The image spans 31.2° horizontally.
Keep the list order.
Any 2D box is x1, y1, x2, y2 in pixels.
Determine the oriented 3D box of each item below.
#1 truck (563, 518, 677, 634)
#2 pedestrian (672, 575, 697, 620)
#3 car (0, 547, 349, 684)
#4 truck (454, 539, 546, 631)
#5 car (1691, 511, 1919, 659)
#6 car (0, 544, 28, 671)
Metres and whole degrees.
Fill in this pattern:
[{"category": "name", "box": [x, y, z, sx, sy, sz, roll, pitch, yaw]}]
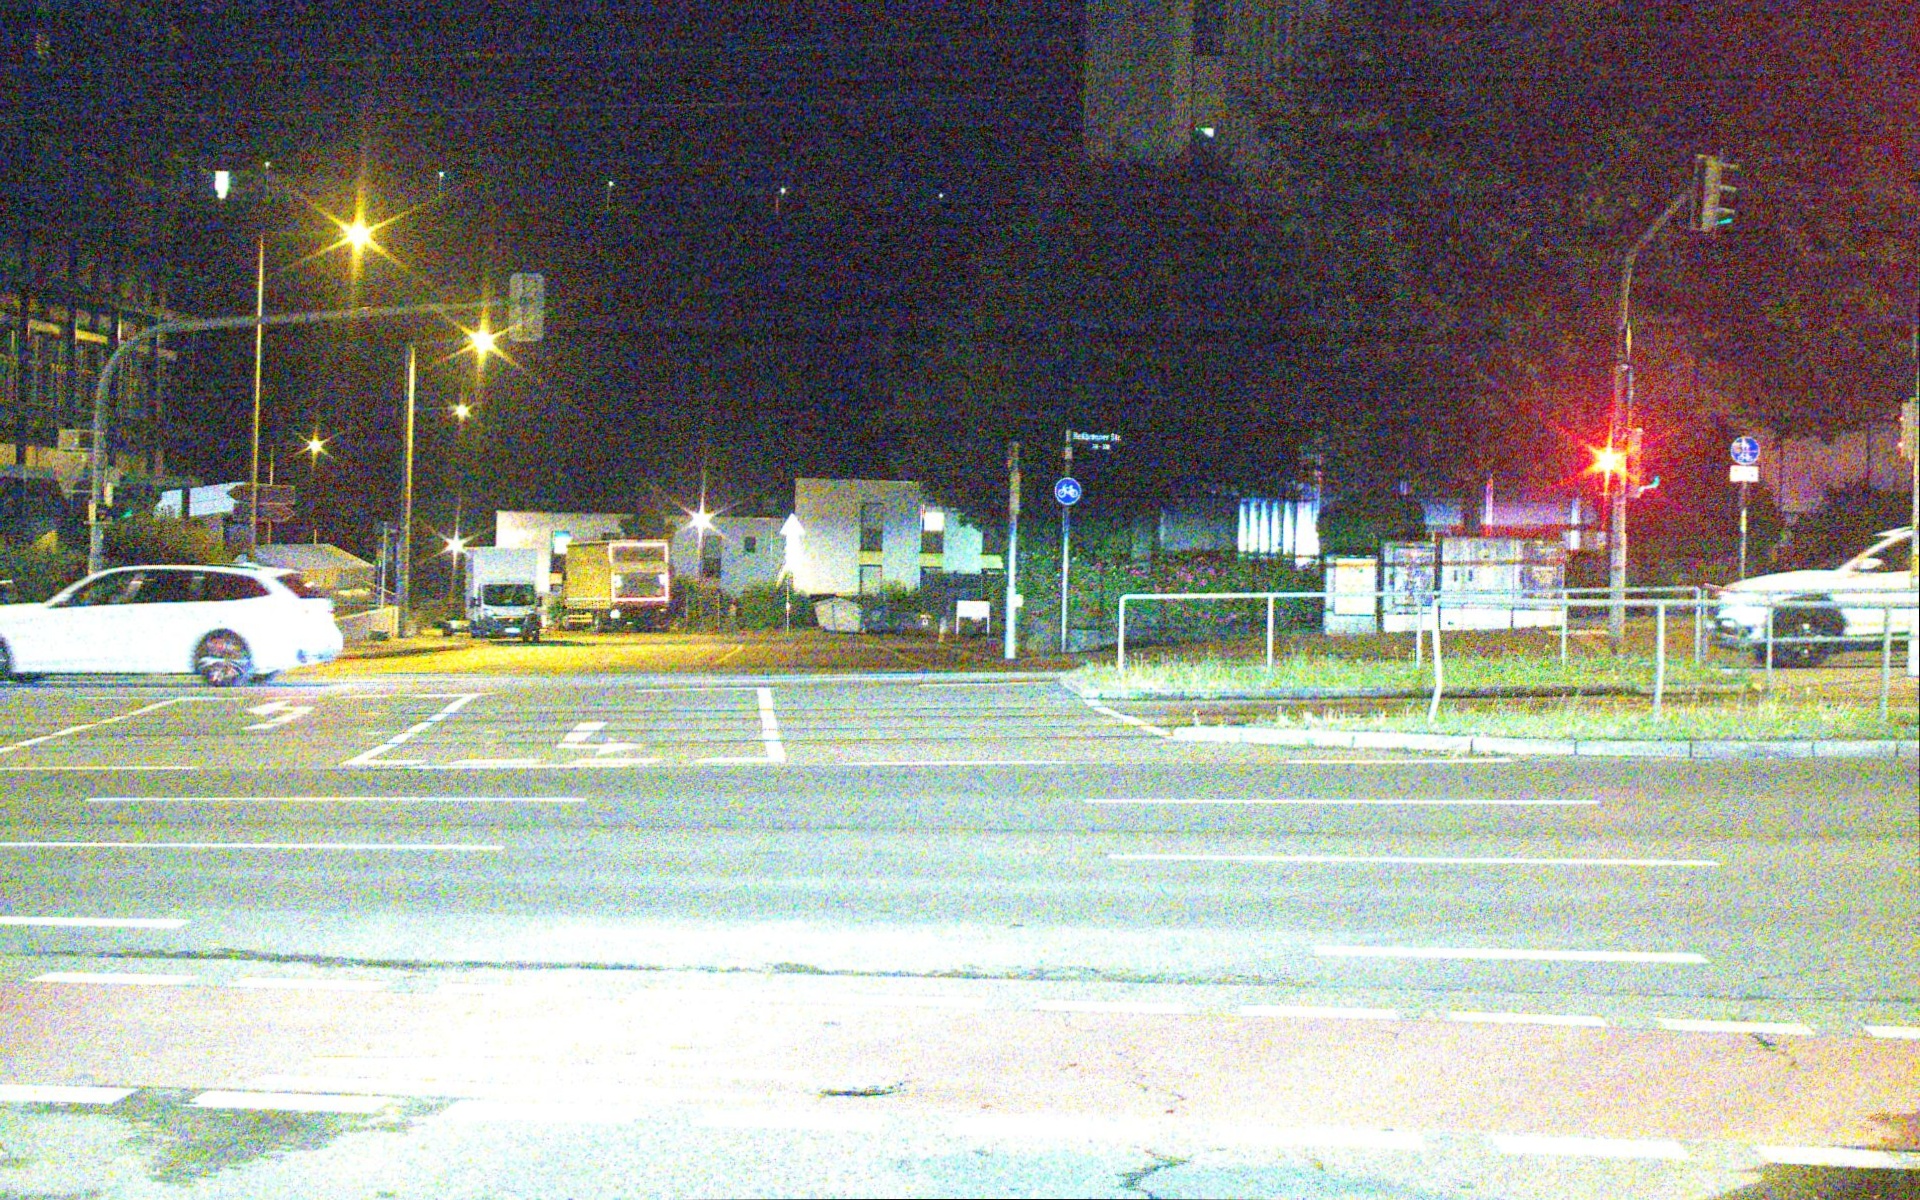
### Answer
[{"category": "truck", "box": [-14.774, -1.019, 148.852, 3.359, 4.826, 7.908, 1, 0, -17]}, {"category": "pedestrian", "box": [-11.825, -0.101, 147.638, 0.849, 1.905, 1.007, 1, 0, -18]}, {"category": "car", "box": [-9.686, 0.161, 40.572, 4.575, 1.481, 1.779, 1, 1, 3]}, {"category": "truck", "box": [-16.063, -0.510, 119.709, 2.417, 3.078, 6.439, 1, 0, -14]}, {"category": "car", "box": [10.885, -0.145, 39.906, 4.398, 1.638, 1.941, 1, 0, 3]}, {"category": "car", "box": [-14.207, 0.107, 44.326, 3.820, 1.625, 1.811, 0, 1, 6]}]
